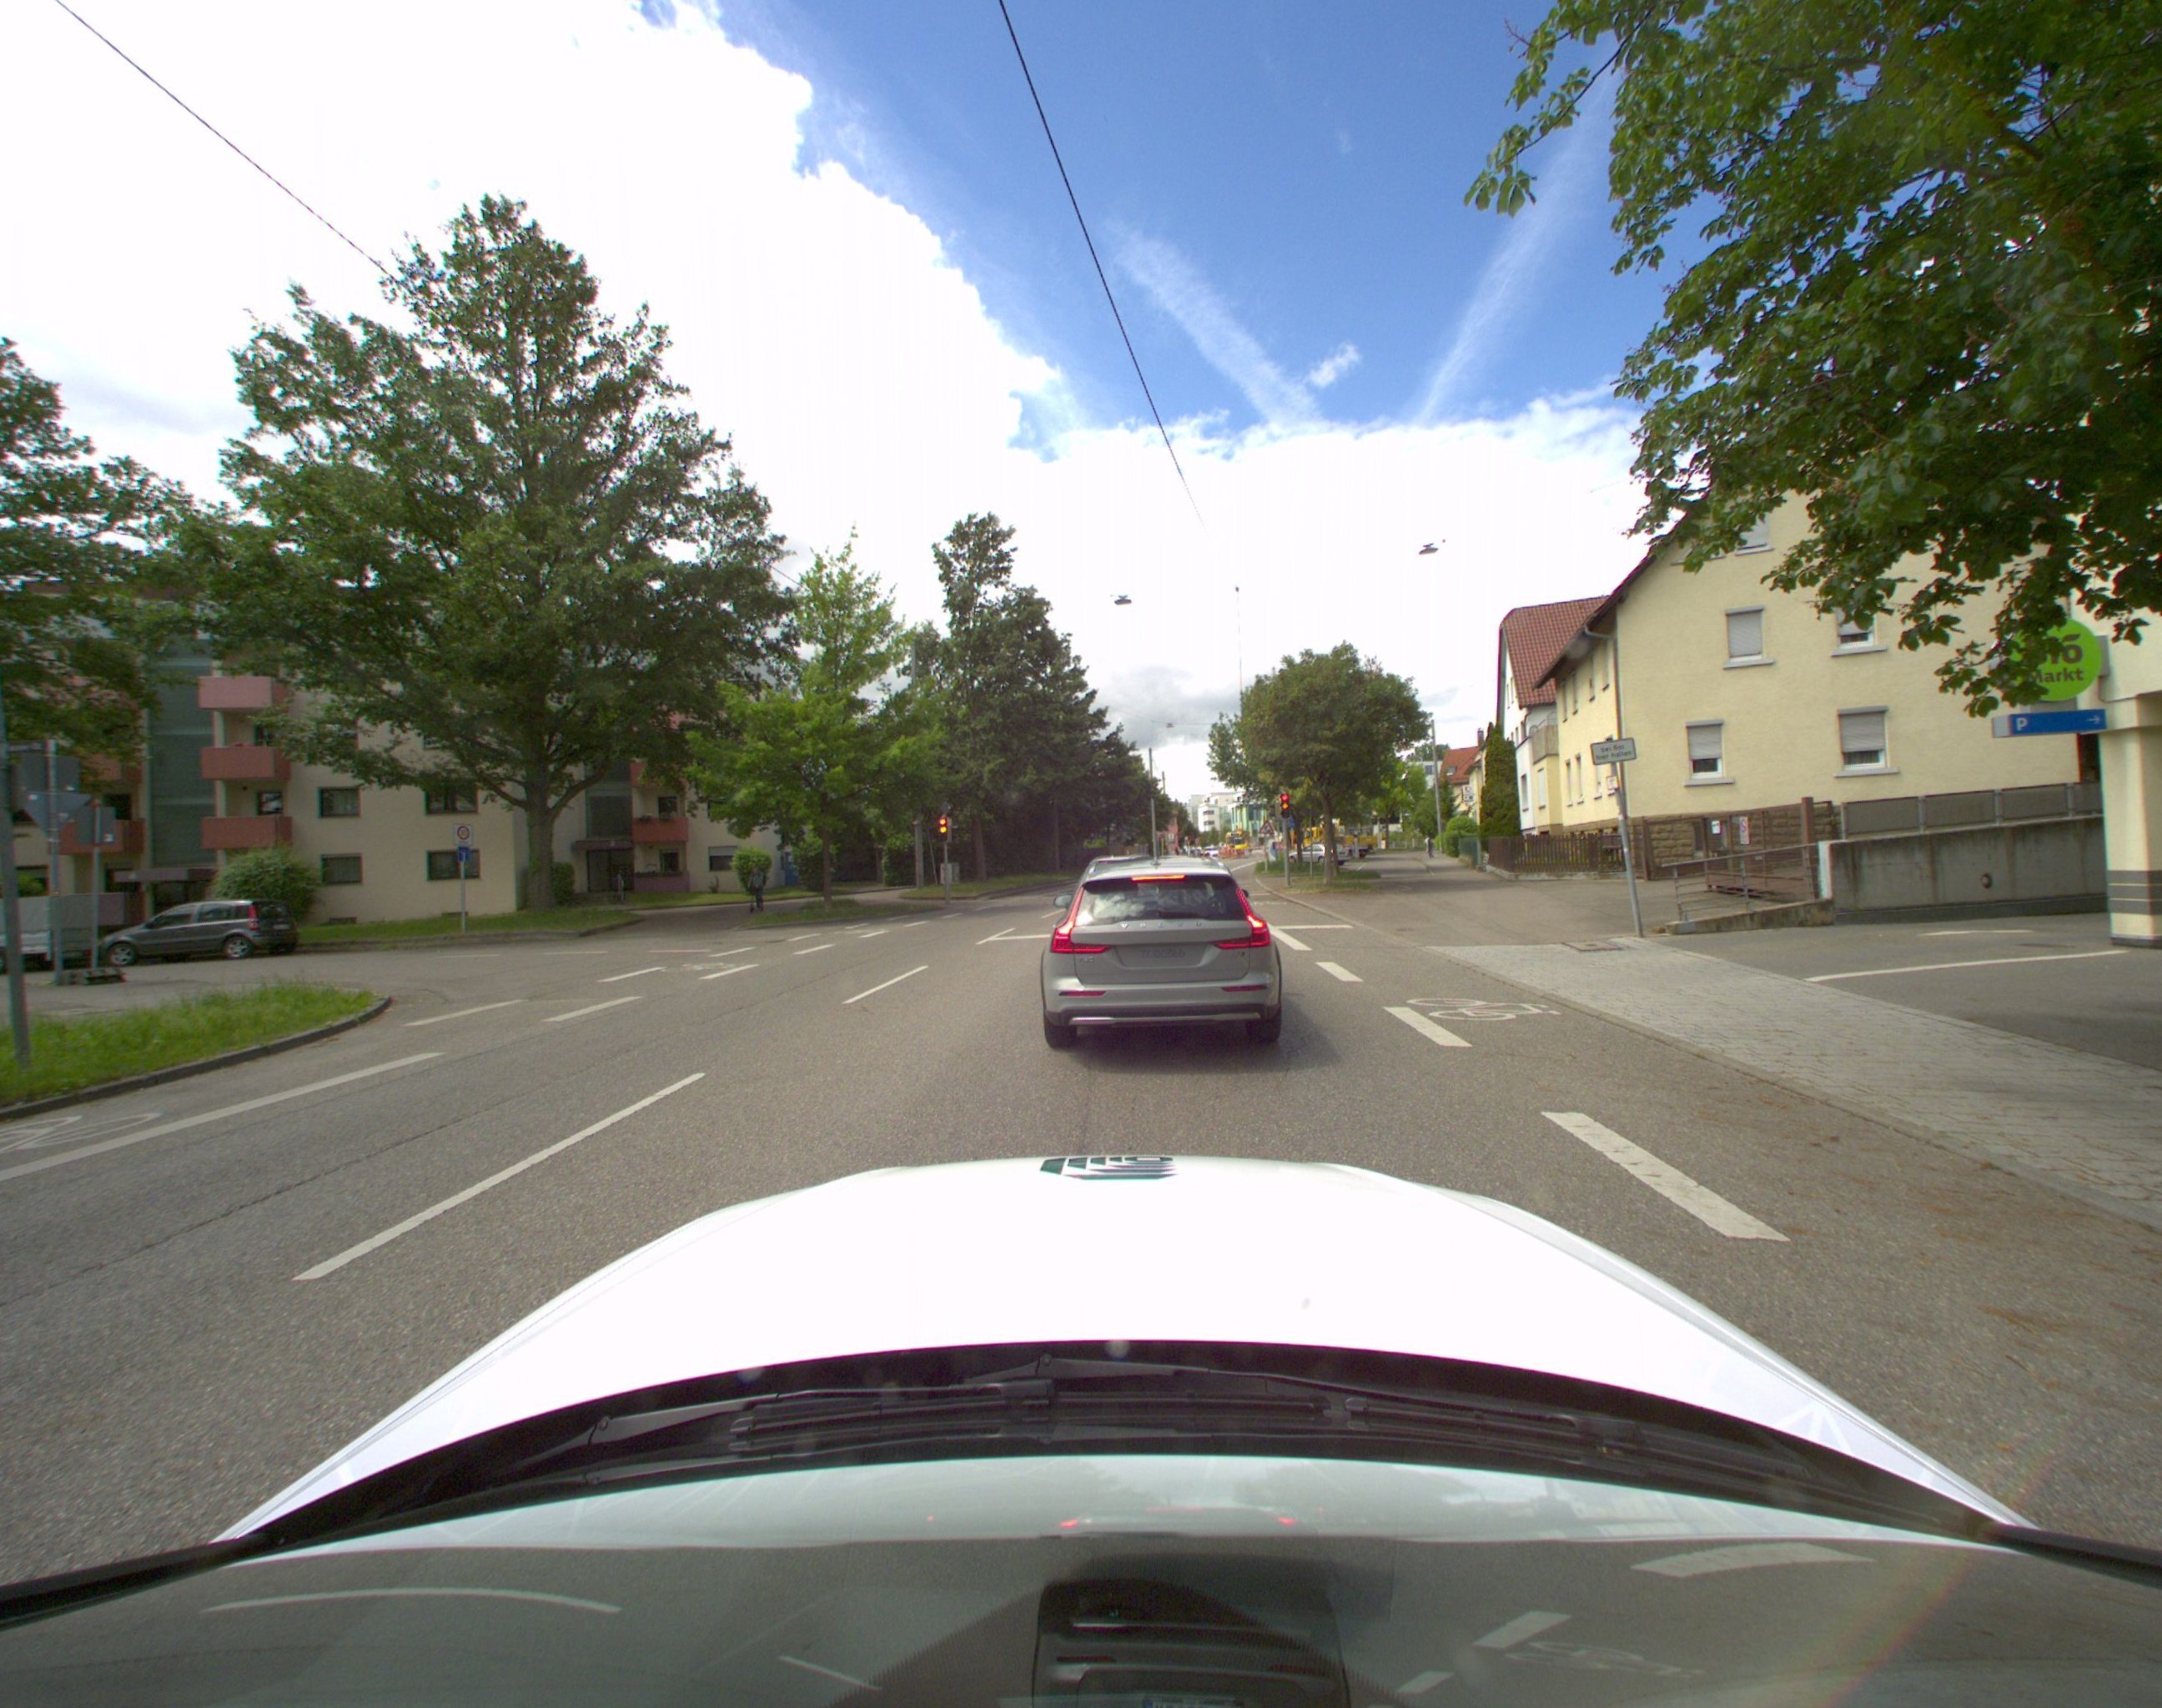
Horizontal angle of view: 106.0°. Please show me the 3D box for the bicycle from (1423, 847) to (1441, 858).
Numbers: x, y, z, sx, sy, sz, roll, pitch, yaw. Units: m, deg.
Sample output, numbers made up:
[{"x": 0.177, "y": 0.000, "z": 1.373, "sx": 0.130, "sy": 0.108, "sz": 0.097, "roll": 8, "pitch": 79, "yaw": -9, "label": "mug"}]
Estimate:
[{"x": 25.314, "y": -0.122, "z": 58.789, "sx": 0.592, "sy": 0.812, "sz": 1.754, "roll": 0, "pitch": 0, "yaw": 1, "label": "bicycle"}]

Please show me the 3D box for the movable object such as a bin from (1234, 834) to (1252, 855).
[{"x": 21.699, "y": -1.223, "z": 109.079, "sx": 2.020, "sy": 2.642, "sz": 5.962, "roll": -3, "pitch": 0, "yaw": 13, "label": "movable object such as a bin"}]

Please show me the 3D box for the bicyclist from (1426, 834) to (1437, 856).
[{"x": 25.319, "y": -0.656, "z": 58.830, "sx": 0.587, "sy": 1.559, "sz": 0.567, "roll": 0, "pitch": -1, "yaw": 1, "label": "bicyclist"}]

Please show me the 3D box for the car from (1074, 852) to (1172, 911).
[{"x": 1.301, "y": 0.748, "z": 23.200, "sx": 2.088, "sy": 1.510, "sz": 4.014, "roll": -2, "pitch": -1, "yaw": 13, "label": "car"}]

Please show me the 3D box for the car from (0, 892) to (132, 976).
[{"x": -27.006, "y": 2.085, "z": 20.281, "sx": 3.990, "sy": 1.844, "sz": 1.838, "roll": -5, "pitch": 0, "yaw": -12, "label": "car"}]

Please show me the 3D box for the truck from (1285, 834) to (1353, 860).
[{"x": 20.005, "y": -0.555, "z": 68.661, "sx": 2.006, "sy": 2.014, "sz": 5.622, "roll": 0, "pitch": -1, "yaw": -31, "label": "truck"}]

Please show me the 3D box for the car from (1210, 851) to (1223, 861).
[{"x": 21.031, "y": 0.302, "z": 125.887, "sx": 1.816, "sy": 1.330, "sz": 4.012, "roll": -1, "pitch": -2, "yaw": 12, "label": "car"}]

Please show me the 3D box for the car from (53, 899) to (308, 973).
[{"x": -22.751, "y": 2.024, "z": 20.767, "sx": 3.995, "sy": 1.452, "sz": 1.687, "roll": -3, "pitch": 0, "yaw": -16, "label": "car"}]

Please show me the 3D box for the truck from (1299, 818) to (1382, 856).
[{"x": 22.378, "y": -1.397, "z": 70.569, "sx": 2.780, "sy": 3.008, "sz": 6.639, "roll": 0, "pitch": -1, "yaw": -32, "label": "truck"}]

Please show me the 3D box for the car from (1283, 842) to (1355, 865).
[{"x": 15.800, "y": -0.028, "z": 54.200, "sx": 1.773, "sy": 1.451, "sz": 4.644, "roll": -2, "pitch": 0, "yaw": -30, "label": "car"}]

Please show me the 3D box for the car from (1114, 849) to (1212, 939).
[{"x": 1.549, "y": 0.698, "z": 15.636, "sx": 1.653, "sy": 1.508, "sz": 3.707, "roll": 0, "pitch": -1, "yaw": 5, "label": "car"}]

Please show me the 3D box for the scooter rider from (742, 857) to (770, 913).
[{"x": -11.861, "y": 1.125, "z": 29.774, "sx": 0.674, "sy": 2.014, "sz": 0.794, "roll": 0, "pitch": -1, "yaw": 1, "label": "scooter rider"}]

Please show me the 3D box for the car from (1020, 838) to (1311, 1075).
[{"x": 0.656, "y": 0.722, "z": 7.563, "sx": 1.920, "sy": 1.540, "sz": 4.002, "roll": -2, "pitch": -1, "yaw": 2, "label": "car"}]

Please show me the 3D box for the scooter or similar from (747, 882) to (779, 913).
[{"x": -11.652, "y": 1.589, "z": 29.869, "sx": 0.754, "sy": 1.083, "sz": 0.945, "roll": 0, "pitch": -1, "yaw": 1, "label": "scooter or similar"}]
